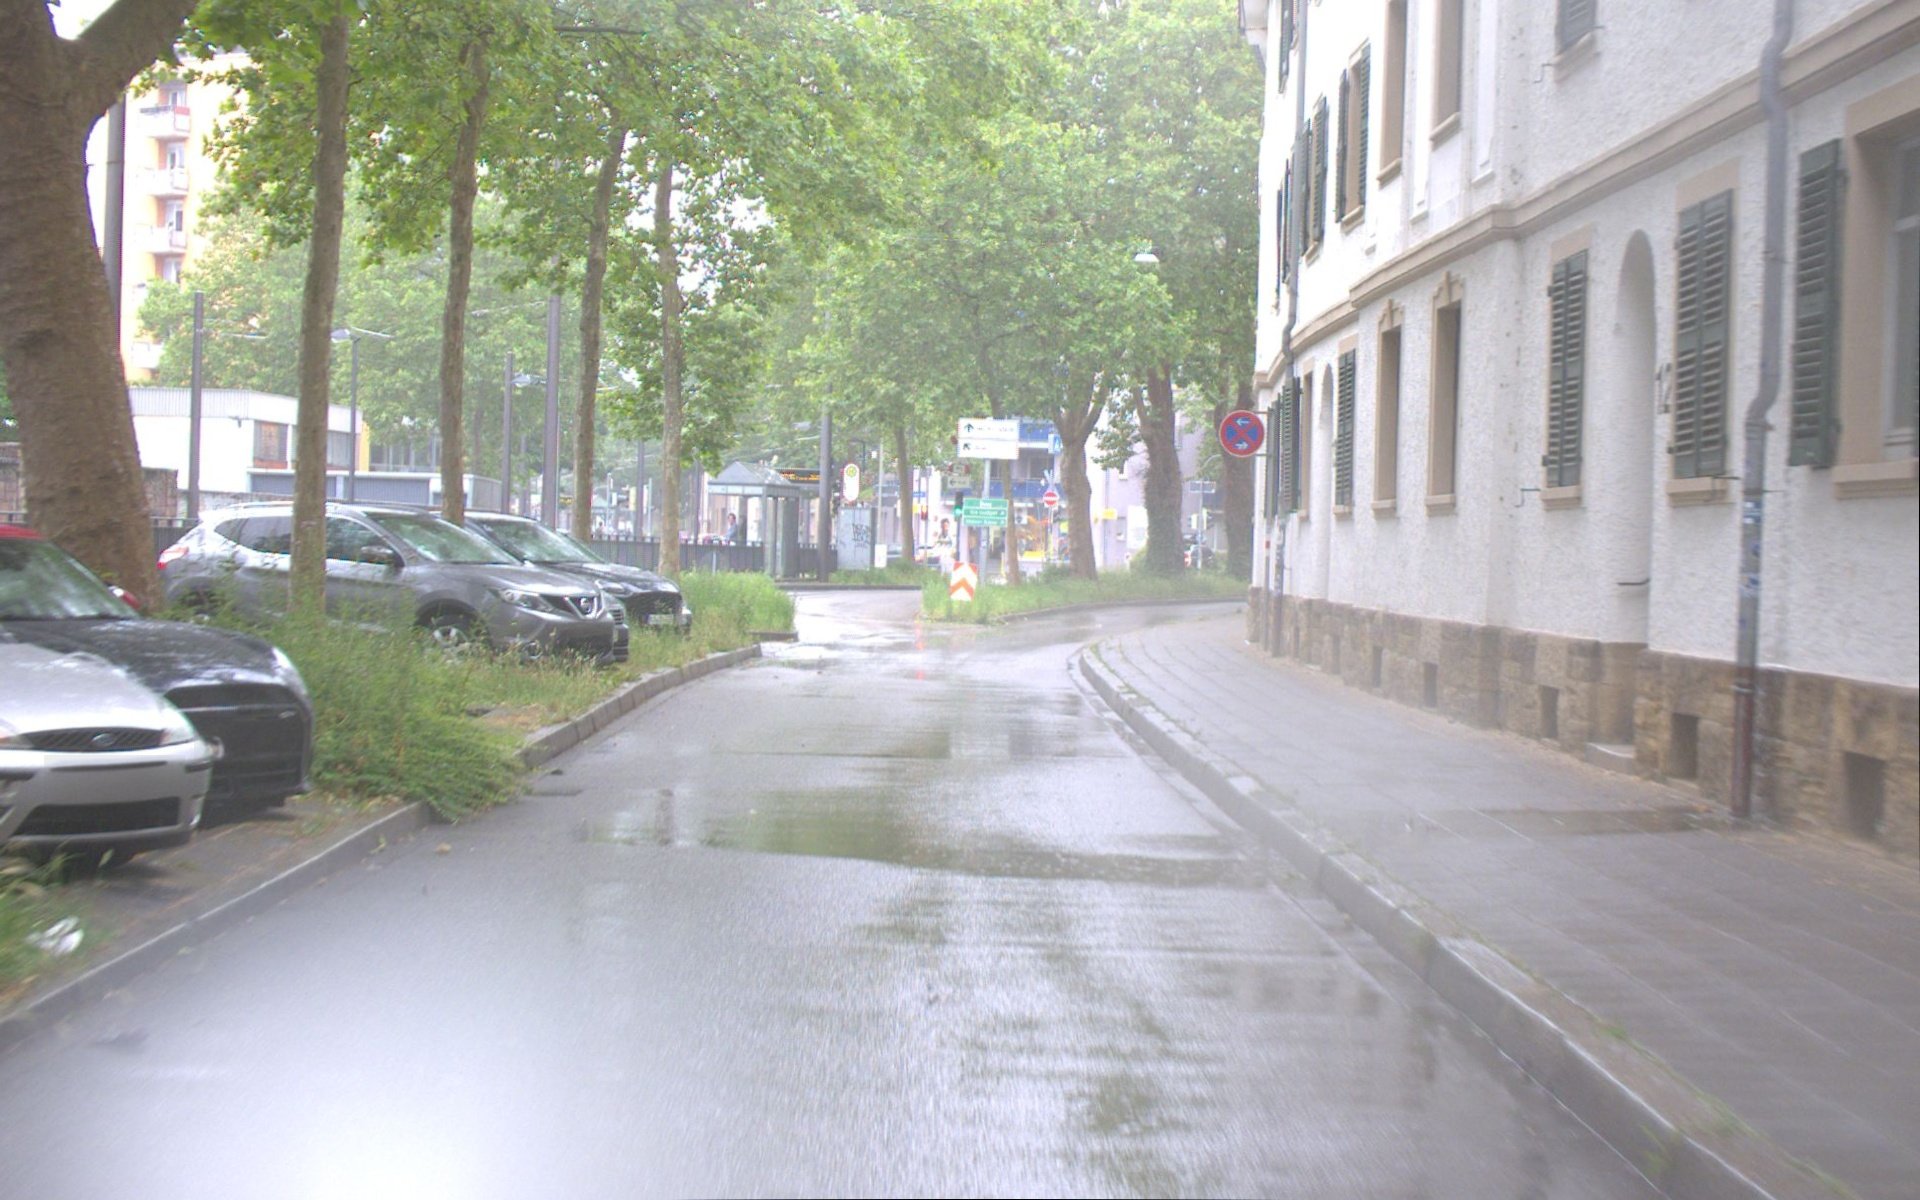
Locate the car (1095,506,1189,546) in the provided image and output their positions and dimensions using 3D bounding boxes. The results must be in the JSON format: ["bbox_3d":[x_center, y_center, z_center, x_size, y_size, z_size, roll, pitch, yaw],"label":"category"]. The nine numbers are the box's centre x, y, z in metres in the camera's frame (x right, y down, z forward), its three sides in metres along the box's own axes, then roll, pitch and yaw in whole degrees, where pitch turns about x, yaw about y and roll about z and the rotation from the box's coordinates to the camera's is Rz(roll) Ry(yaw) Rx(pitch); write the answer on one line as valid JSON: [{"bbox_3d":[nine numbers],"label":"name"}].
[{"bbox_3d":[8.369,-3.400,157.904,3.989,1.591,1.999,2,2,-43],"label":"car"}]

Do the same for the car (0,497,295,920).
[{"bbox_3d":[-5.002,0.322,13.733,4.554,1.477,1.772,1,2,30],"label":"car"}]

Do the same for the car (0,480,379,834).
[{"bbox_3d":[-4.812,0.188,16.417,3.812,1.515,1.719,1,2,31],"label":"car"}]

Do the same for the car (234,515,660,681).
[{"bbox_3d":[-5.836,-0.068,38.989,4.525,1.708,1.957,1,4,31],"label":"car"}]

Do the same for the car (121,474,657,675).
[{"bbox_3d":[-5.170,-0.272,31.048,4.465,1.591,1.921,3,2,26],"label":"car"}]

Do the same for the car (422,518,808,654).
[{"bbox_3d":[-4.224,-0.205,41.936,4.358,1.507,1.957,1,4,31],"label":"car"}]
